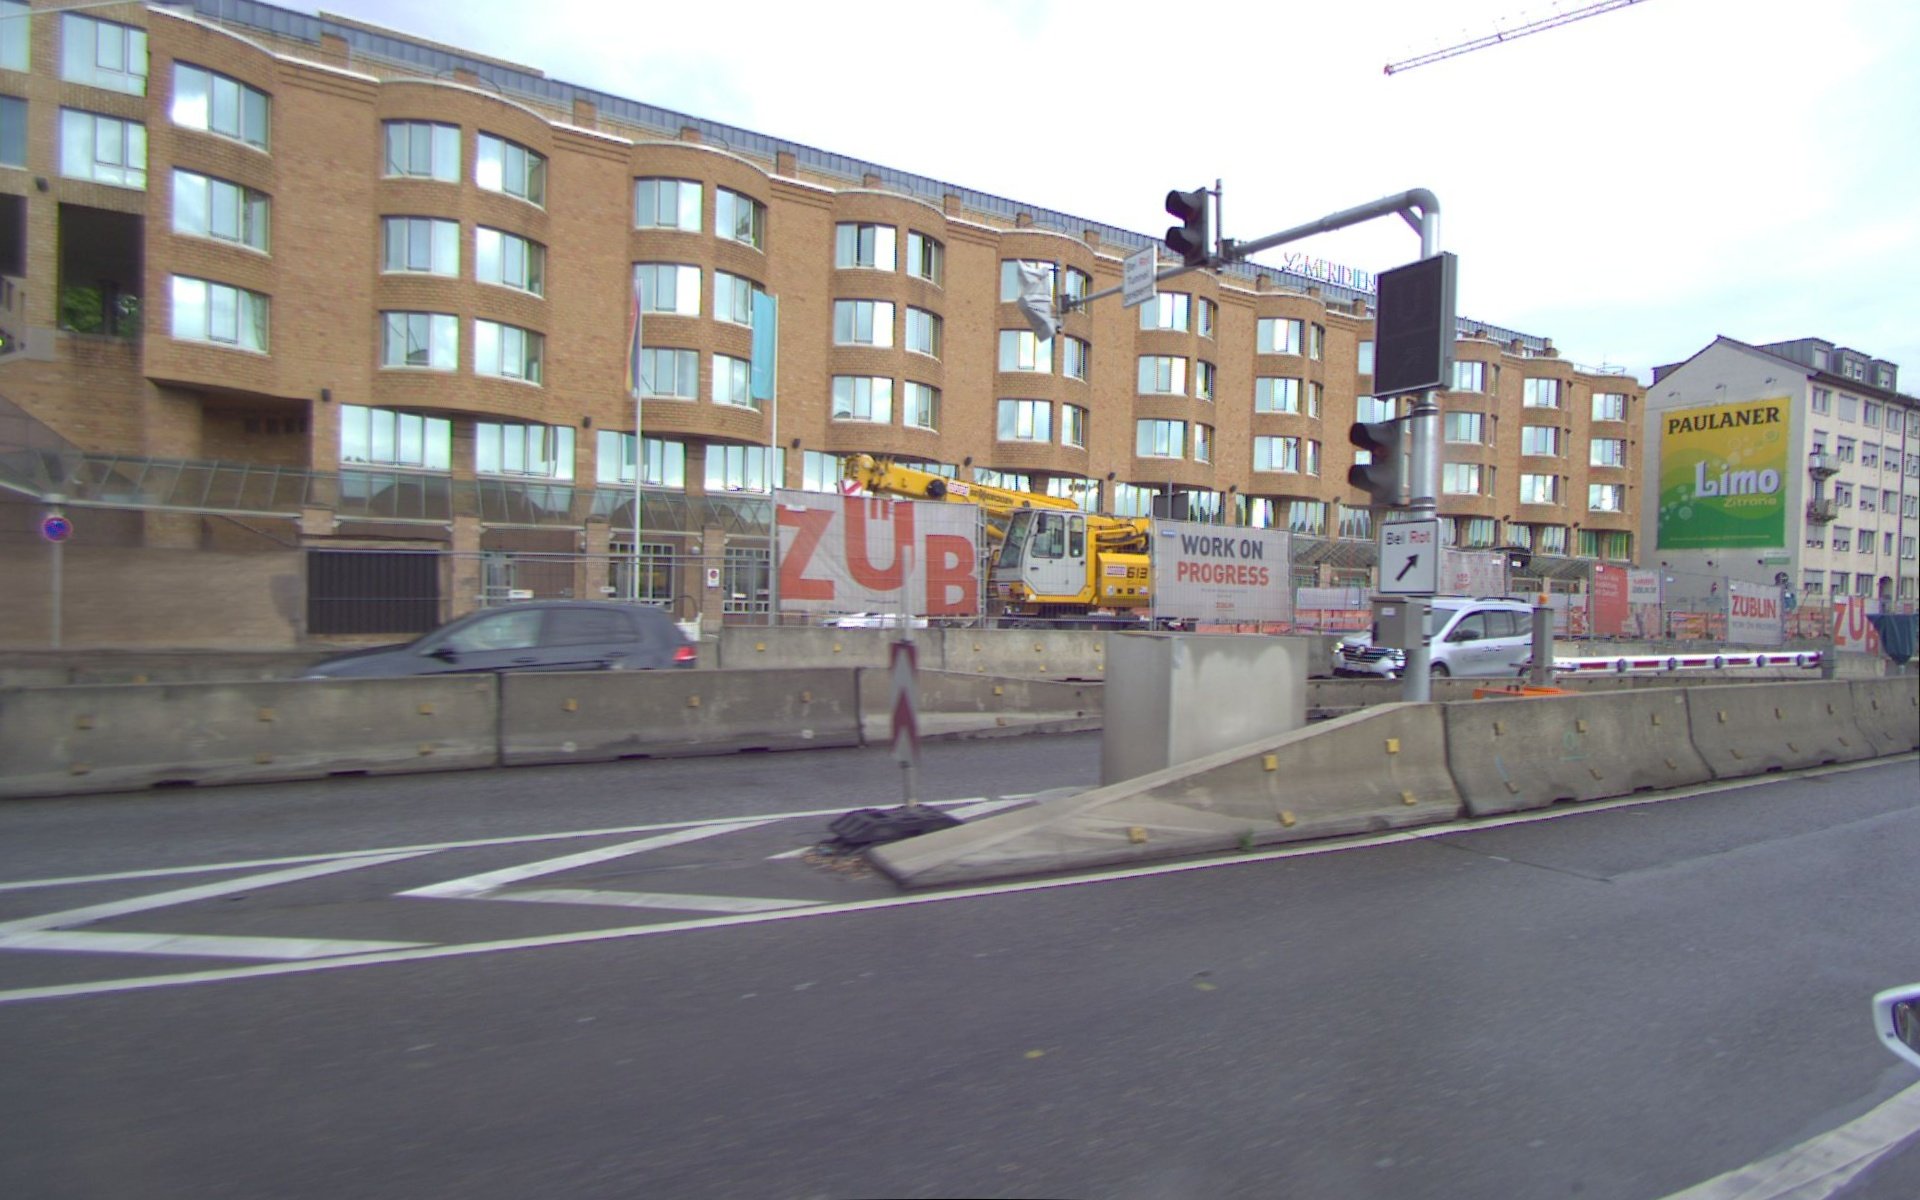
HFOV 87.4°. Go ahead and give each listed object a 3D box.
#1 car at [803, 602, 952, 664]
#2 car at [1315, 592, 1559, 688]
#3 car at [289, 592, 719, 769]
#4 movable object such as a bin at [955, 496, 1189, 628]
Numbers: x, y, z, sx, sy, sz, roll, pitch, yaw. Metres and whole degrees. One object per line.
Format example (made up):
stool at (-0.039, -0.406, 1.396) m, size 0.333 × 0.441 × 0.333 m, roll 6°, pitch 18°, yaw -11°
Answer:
car at (-2.444, 0.988, 29.872) m, size 3.954 × 1.715 × 1.984 m, roll 1°, pitch -3°, yaw -31°
car at (8.748, 0.673, 18.340) m, size 4.467 × 1.570 × 1.739 m, roll 1°, pitch 0°, yaw -29°
car at (-4.830, 0.736, 11.026) m, size 3.981 × 1.645 × 1.799 m, roll 0°, pitch 1°, yaw -26°
movable object such as a bin at (2.241, -0.632, 19.825) m, size 4.244 × 2.307 × 2.016 m, roll 1°, pitch -3°, yaw -32°
